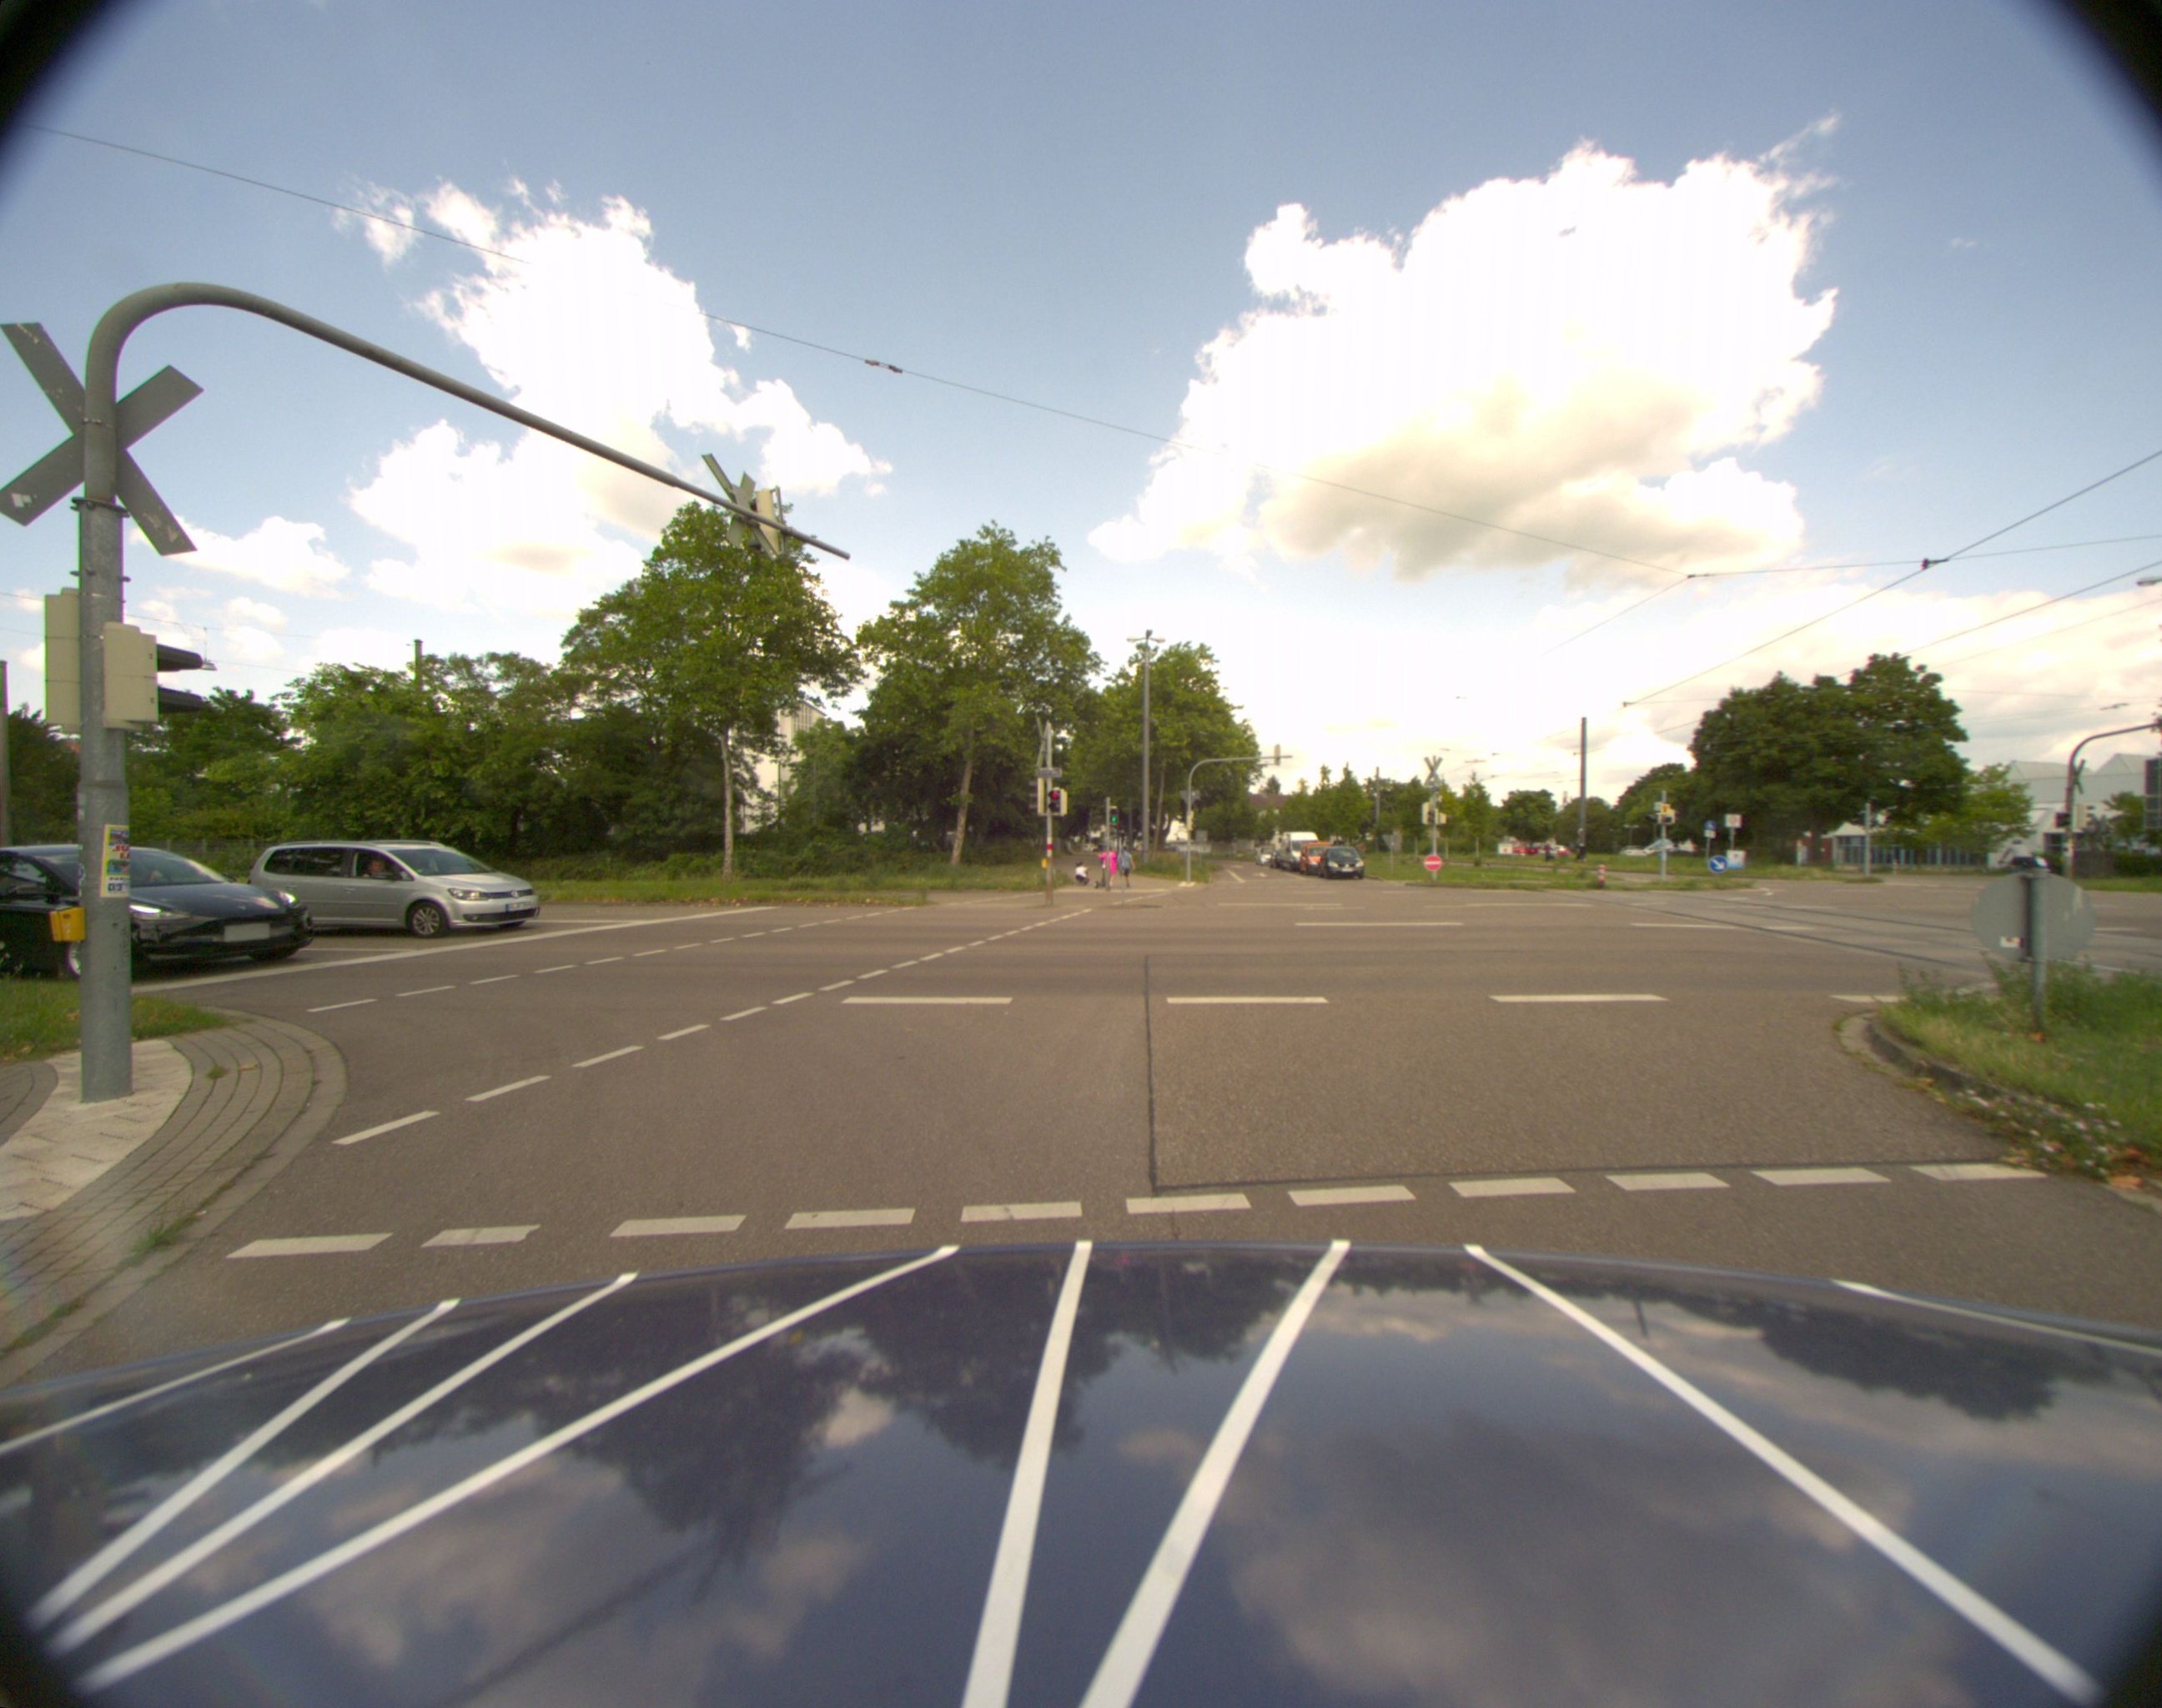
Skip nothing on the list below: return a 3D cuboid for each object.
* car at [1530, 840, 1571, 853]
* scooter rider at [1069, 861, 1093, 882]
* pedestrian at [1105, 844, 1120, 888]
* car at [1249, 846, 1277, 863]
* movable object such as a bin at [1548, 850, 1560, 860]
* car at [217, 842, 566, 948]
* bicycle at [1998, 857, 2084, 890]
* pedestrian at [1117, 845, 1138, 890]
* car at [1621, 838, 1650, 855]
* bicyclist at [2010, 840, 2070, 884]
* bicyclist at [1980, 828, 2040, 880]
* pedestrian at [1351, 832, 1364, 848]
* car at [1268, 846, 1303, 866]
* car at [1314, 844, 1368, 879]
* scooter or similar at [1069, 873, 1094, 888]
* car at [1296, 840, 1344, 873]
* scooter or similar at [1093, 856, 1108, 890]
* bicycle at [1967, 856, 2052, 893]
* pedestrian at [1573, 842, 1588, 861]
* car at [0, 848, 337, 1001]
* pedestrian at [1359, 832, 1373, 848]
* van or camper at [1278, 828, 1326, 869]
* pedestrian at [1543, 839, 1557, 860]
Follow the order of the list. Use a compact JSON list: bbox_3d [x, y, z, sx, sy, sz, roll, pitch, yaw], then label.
[{"bbox_3d":[55.399,-0.911,89.687,3.989,1.521,2.004,0,1,31],"label":"car"},{"bbox_3d":[0.002,0.670,28.932,0.611,0.725,0.860,-2,1,25],"label":"scooter rider"},{"bbox_3d":[1.171,0.430,27.932,0.421,1.610,0.597,0,2,14],"label":"pedestrian"},{"bbox_3d":[15.468,0.032,64.740,1.809,1.423,4.384,0,1,7],"label":"car"},{"bbox_3d":[36.128,0.073,58.067,0.579,0.807,0.459,-2,1,-10],"label":"movable object such as a bin"},{"bbox_3d":[-11.942,0.654,13.365,4.497,1.643,1.931,0,3,5],"label":"car"},{"bbox_3d":[32.857,0.650,26.062,0.949,1.034,1.987,0,1,22],"label":"bicycle"},{"bbox_3d":[1.705,0.474,27.676,0.631,1.610,0.611,0,2,14],"label":"pedestrian"},{"bbox_3d":[55.665,-0.788,76.307,1.994,1.630,4.399,0,1,31],"label":"car"},{"bbox_3d":[32.858,0.264,26.039,0.961,1.480,0.837,0,1,21],"label":"bicyclist"},{"bbox_3d":[31.211,0.000,25.541,0.961,1.712,0.837,0,1,21],"label":"bicyclist"},{"bbox_3d":[34.465,-1.766,94.744,1.106,2.002,1.176,0,1,-10],"label":"pedestrian"},{"bbox_3d":[15.229,0.147,56.740,1.809,1.423,4.470,0,0,5],"label":"car"},{"bbox_3d":[12.687,0.325,37.289,1.733,1.621,4.054,0,1,7],"label":"car"},{"bbox_3d":[0.013,0.999,28.946,0.610,0.508,0.859,-2,1,25],"label":"scooter or similar"},{"bbox_3d":[13.582,0.111,43.481,1.881,1.789,4.372,0,1,7],"label":"car"},{"bbox_3d":[0.727,0.693,28.152,0.321,1.225,0.776,-2,1,17],"label":"scooter or similar"},{"bbox_3d":[31.232,0.661,25.617,0.949,1.147,1.987,0,1,22],"label":"bicycle"},{"bbox_3d":[37.426,-0.201,56.903,0.650,1.346,0.752,-2,1,6],"label":"pedestrian"},{"bbox_3d":[-12.585,0.777,9.676,4.574,1.643,1.932,0,3,7],"label":"car"},{"bbox_3d":[35.606,-1.758,94.952,1.106,2.002,1.176,0,1,-10],"label":"pedestrian"},{"bbox_3d":[14.493,-0.338,50.166,1.980,2.510,6.039,0,0,6],"label":"van or camper"},{"bbox_3d":[36.058,-0.334,58.427,0.613,1.635,0.637,-2,1,-8],"label":"pedestrian"}]
